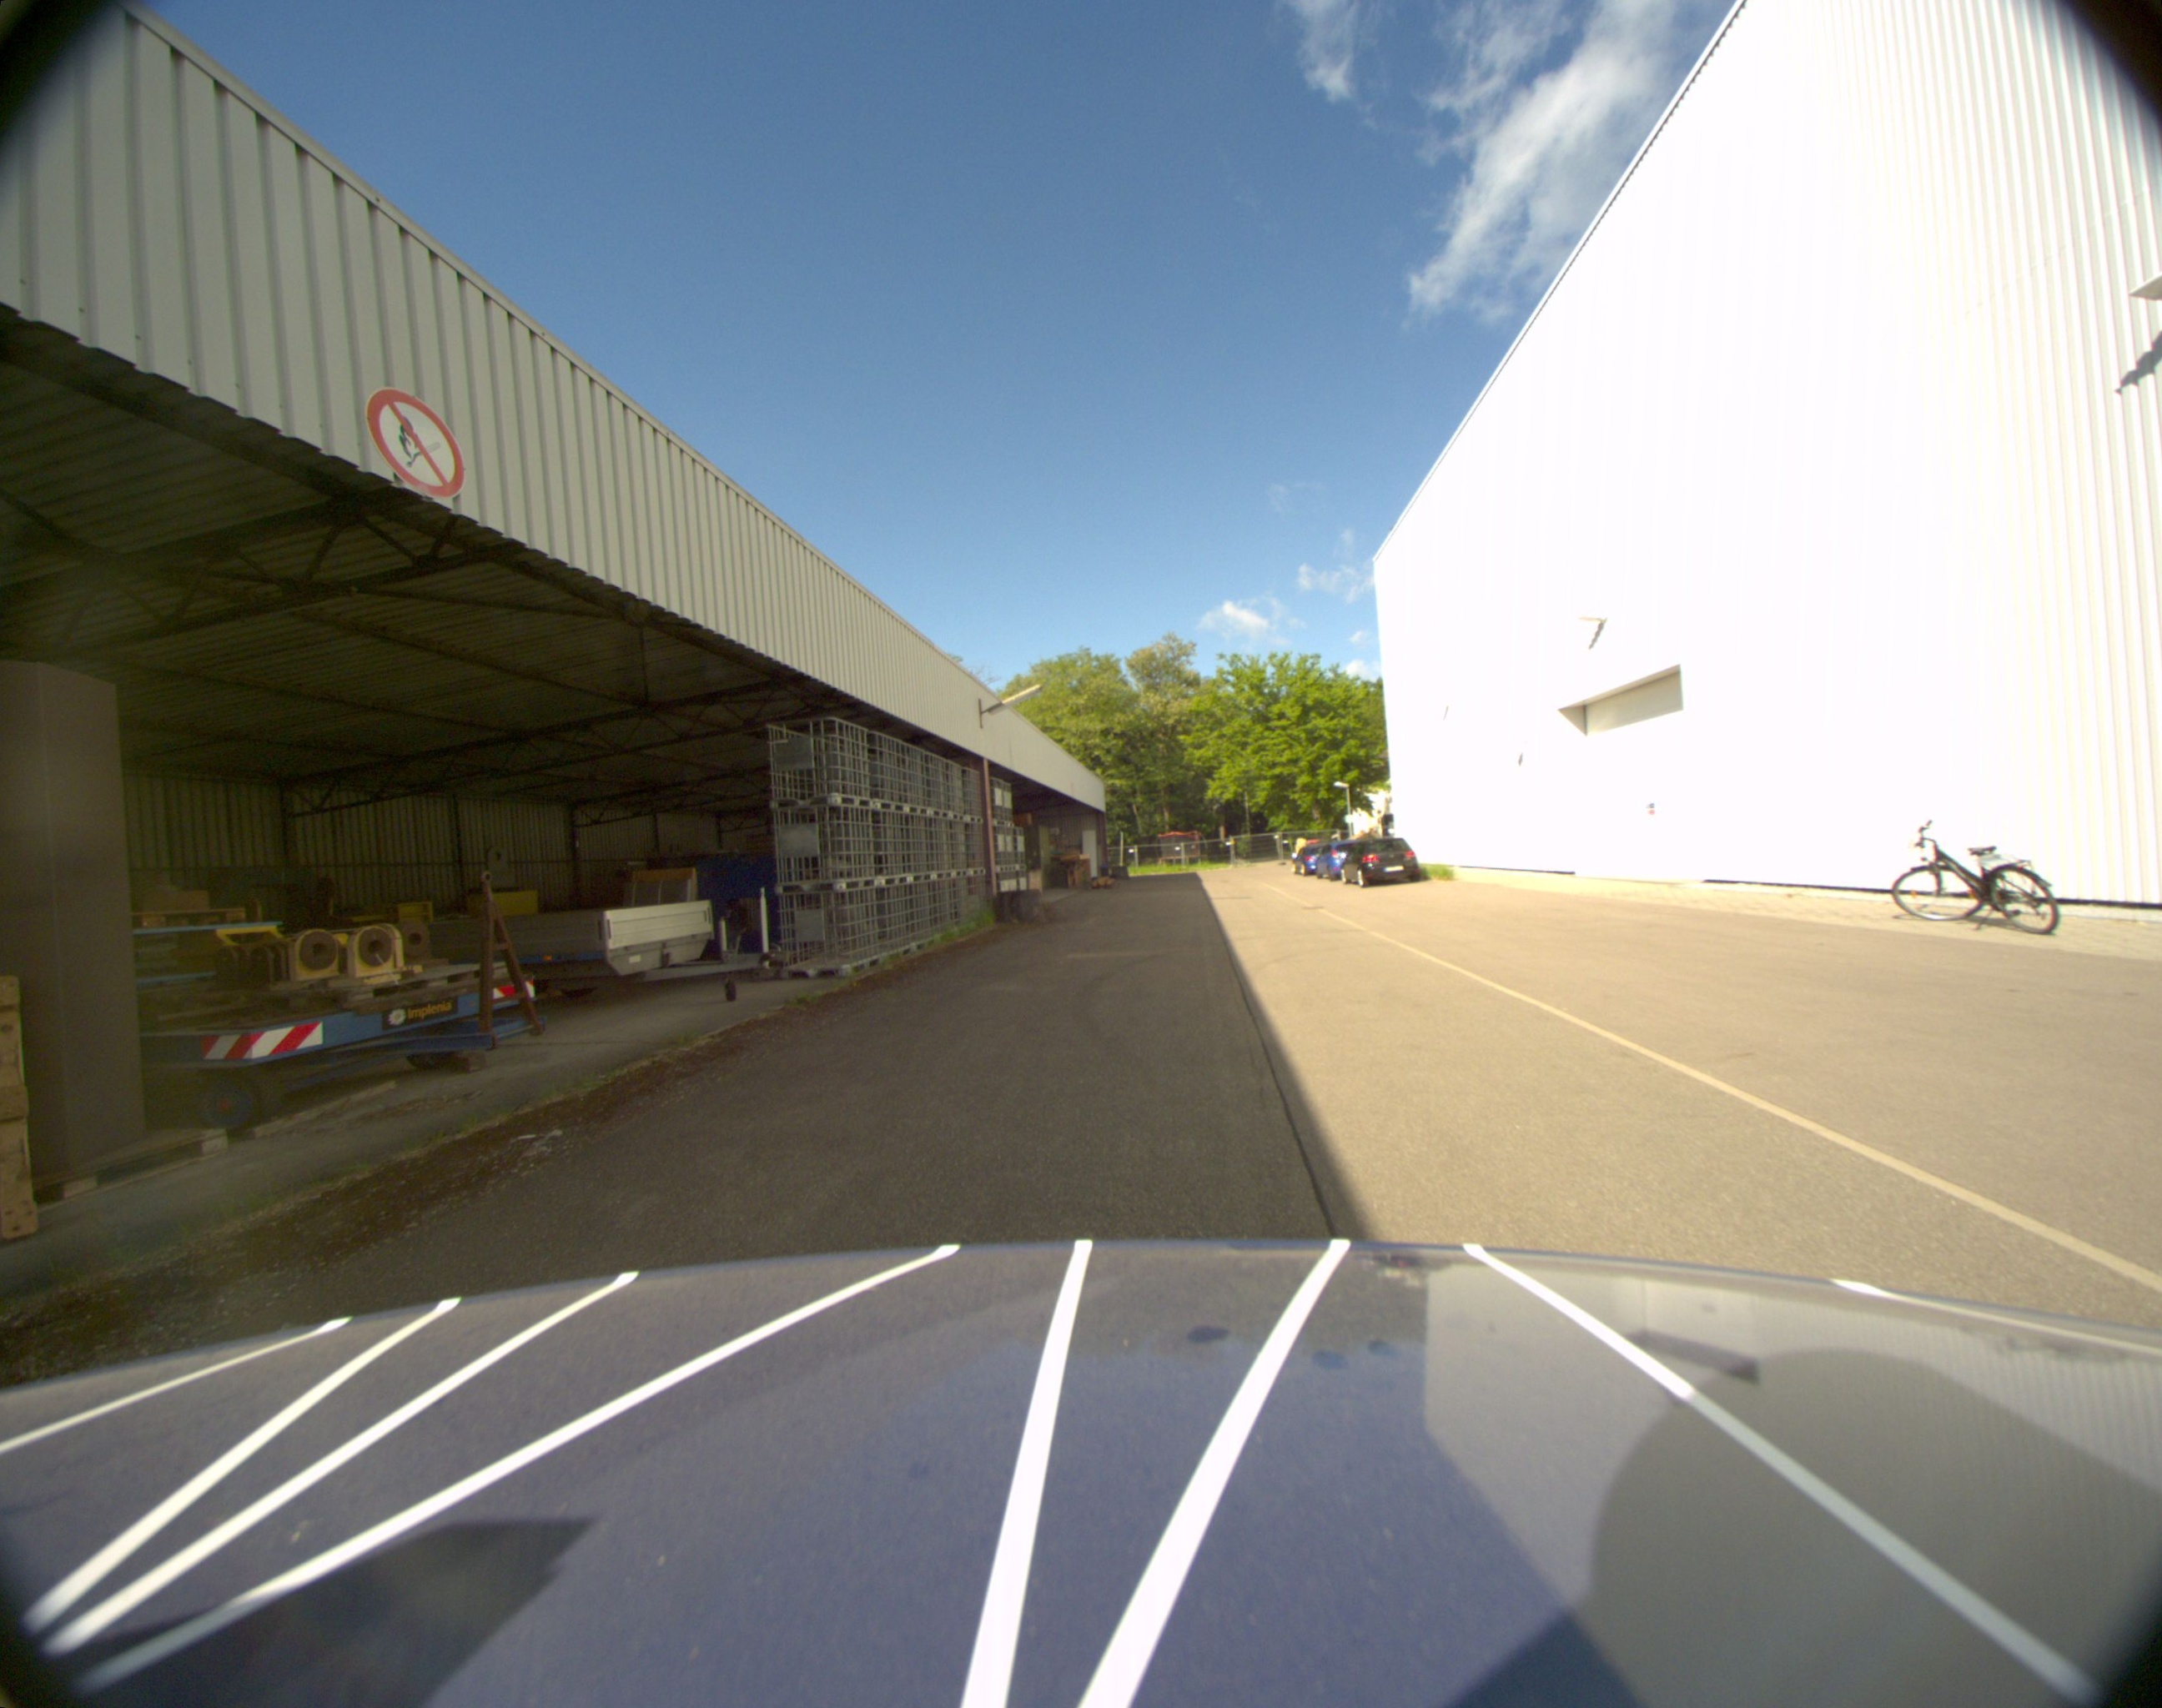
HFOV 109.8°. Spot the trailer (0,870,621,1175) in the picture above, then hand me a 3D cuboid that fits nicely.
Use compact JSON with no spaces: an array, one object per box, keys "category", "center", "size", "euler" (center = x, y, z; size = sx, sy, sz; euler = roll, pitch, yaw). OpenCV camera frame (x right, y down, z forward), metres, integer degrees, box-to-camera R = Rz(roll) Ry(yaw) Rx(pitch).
[{"category":"trailer","center":[-6.364,1.091,5.511],"size":[4.877,1.619,2.030],"euler":[-3,1,7]}]

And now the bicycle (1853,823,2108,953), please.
[{"category":"bicycle","center":[9.397,0.304,8.084],"size":[0.908,1.136,1.902],"euler":[-7,0,23]}]

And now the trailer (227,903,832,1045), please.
[{"category":"trailer","center":[-6.172,1.335,8.869],"size":[5.834,1.113,2.030],"euler":[-3,0,7]}]

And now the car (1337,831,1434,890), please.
[{"category":"car","center":[9.543,0.162,24.141],"size":[1.894,1.513,4.002],"euler":[-7,0,10]}]

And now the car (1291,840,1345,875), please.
[{"category":"car","center":[10.783,0.121,34.830],"size":[1.788,1.431,4.002],"euler":[-3,0,10]}]

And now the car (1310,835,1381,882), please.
[{"category":"car","center":[10.133,0.135,29.363],"size":[1.789,1.513,4.002],"euler":[-7,0,10]}]
